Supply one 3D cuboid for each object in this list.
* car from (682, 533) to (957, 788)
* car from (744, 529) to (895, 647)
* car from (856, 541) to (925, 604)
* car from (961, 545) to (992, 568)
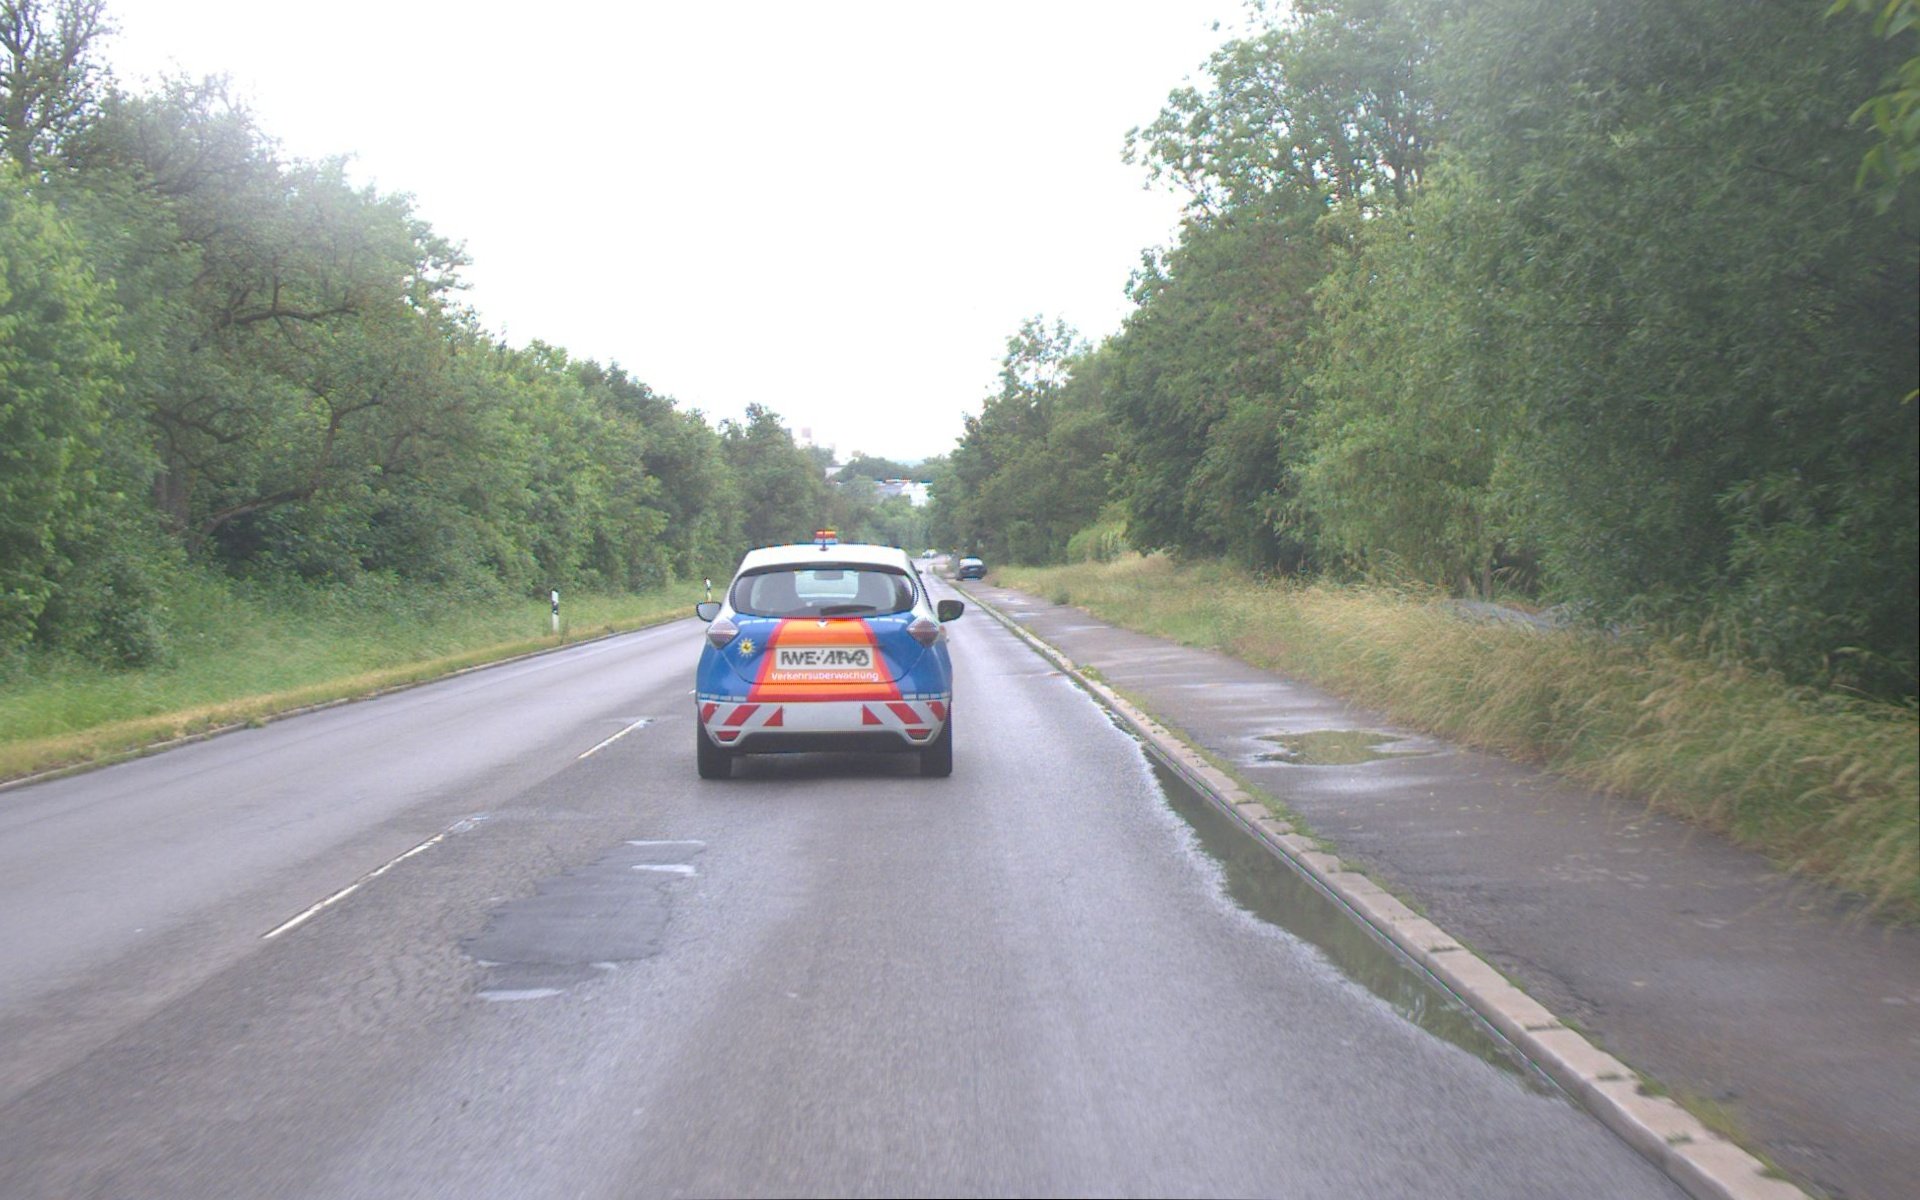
[{"bbox_3d":[-0.930,0.352,24.086,1.752,1.550,3.793,-1,2,-1],"label":"car"},{"bbox_3d":[-1.653,-0.176,41.322,1.598,1.282,3.476,-3,1,0],"label":"car"},{"bbox_3d":[-2.099,-0.867,104.977,1.941,1.717,4.063,-3,2,0],"label":"car"},{"bbox_3d":[1.096,-2.885,227.650,1.993,1.371,4.000,-3,1,0],"label":"car"}]
